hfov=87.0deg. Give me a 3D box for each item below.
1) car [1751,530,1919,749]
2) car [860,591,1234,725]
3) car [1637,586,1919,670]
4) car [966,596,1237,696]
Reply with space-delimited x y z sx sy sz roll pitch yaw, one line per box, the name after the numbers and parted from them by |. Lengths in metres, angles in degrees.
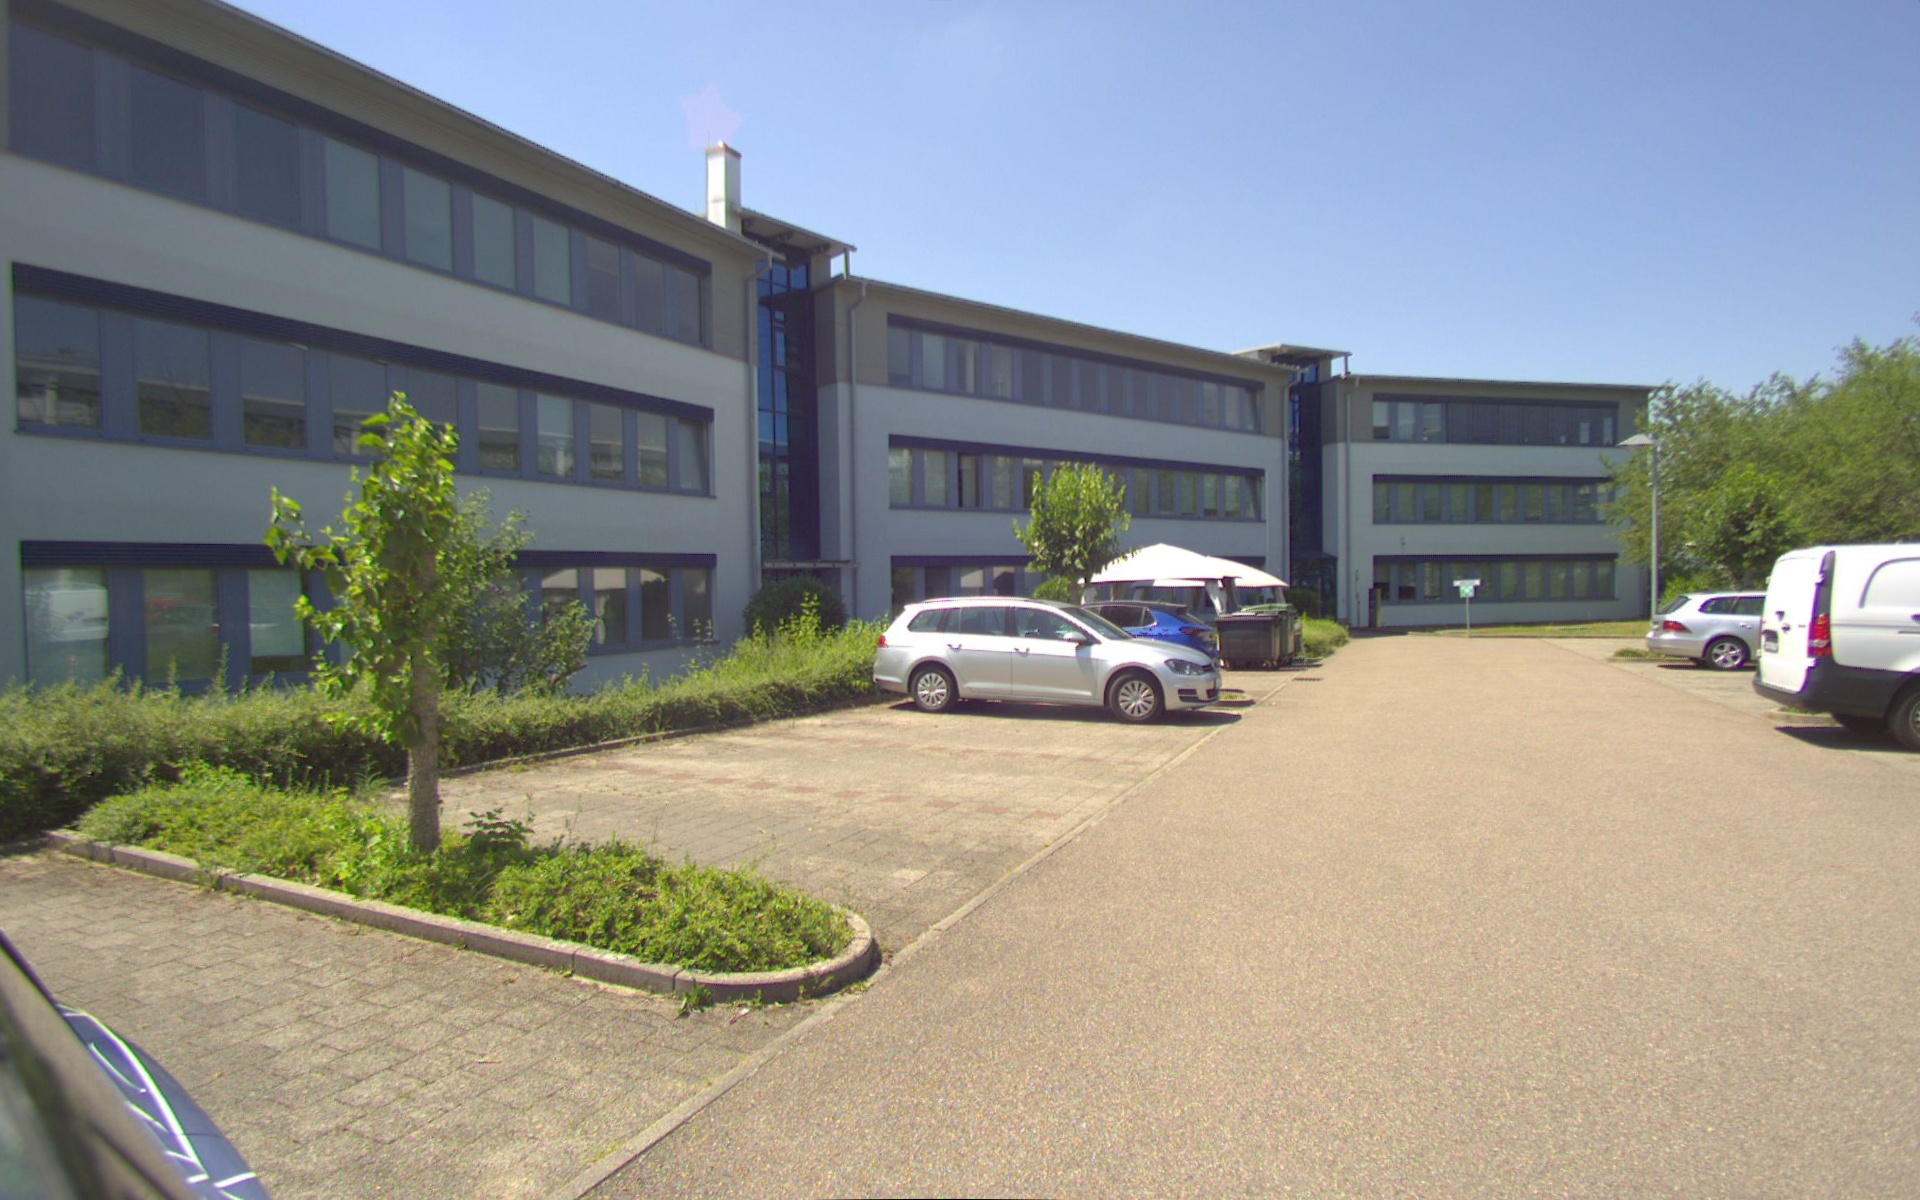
10.236 0.315 8.941 4.777 1.905 1.871 -1 0 26 | car
1.109 0.650 13.028 4.456 1.483 1.848 0 0 24 | car
15.200 0.478 18.795 4.149 1.417 1.856 -1 0 27 | car
2.326 0.717 16.659 3.980 1.473 1.982 -1 -1 27 | car
